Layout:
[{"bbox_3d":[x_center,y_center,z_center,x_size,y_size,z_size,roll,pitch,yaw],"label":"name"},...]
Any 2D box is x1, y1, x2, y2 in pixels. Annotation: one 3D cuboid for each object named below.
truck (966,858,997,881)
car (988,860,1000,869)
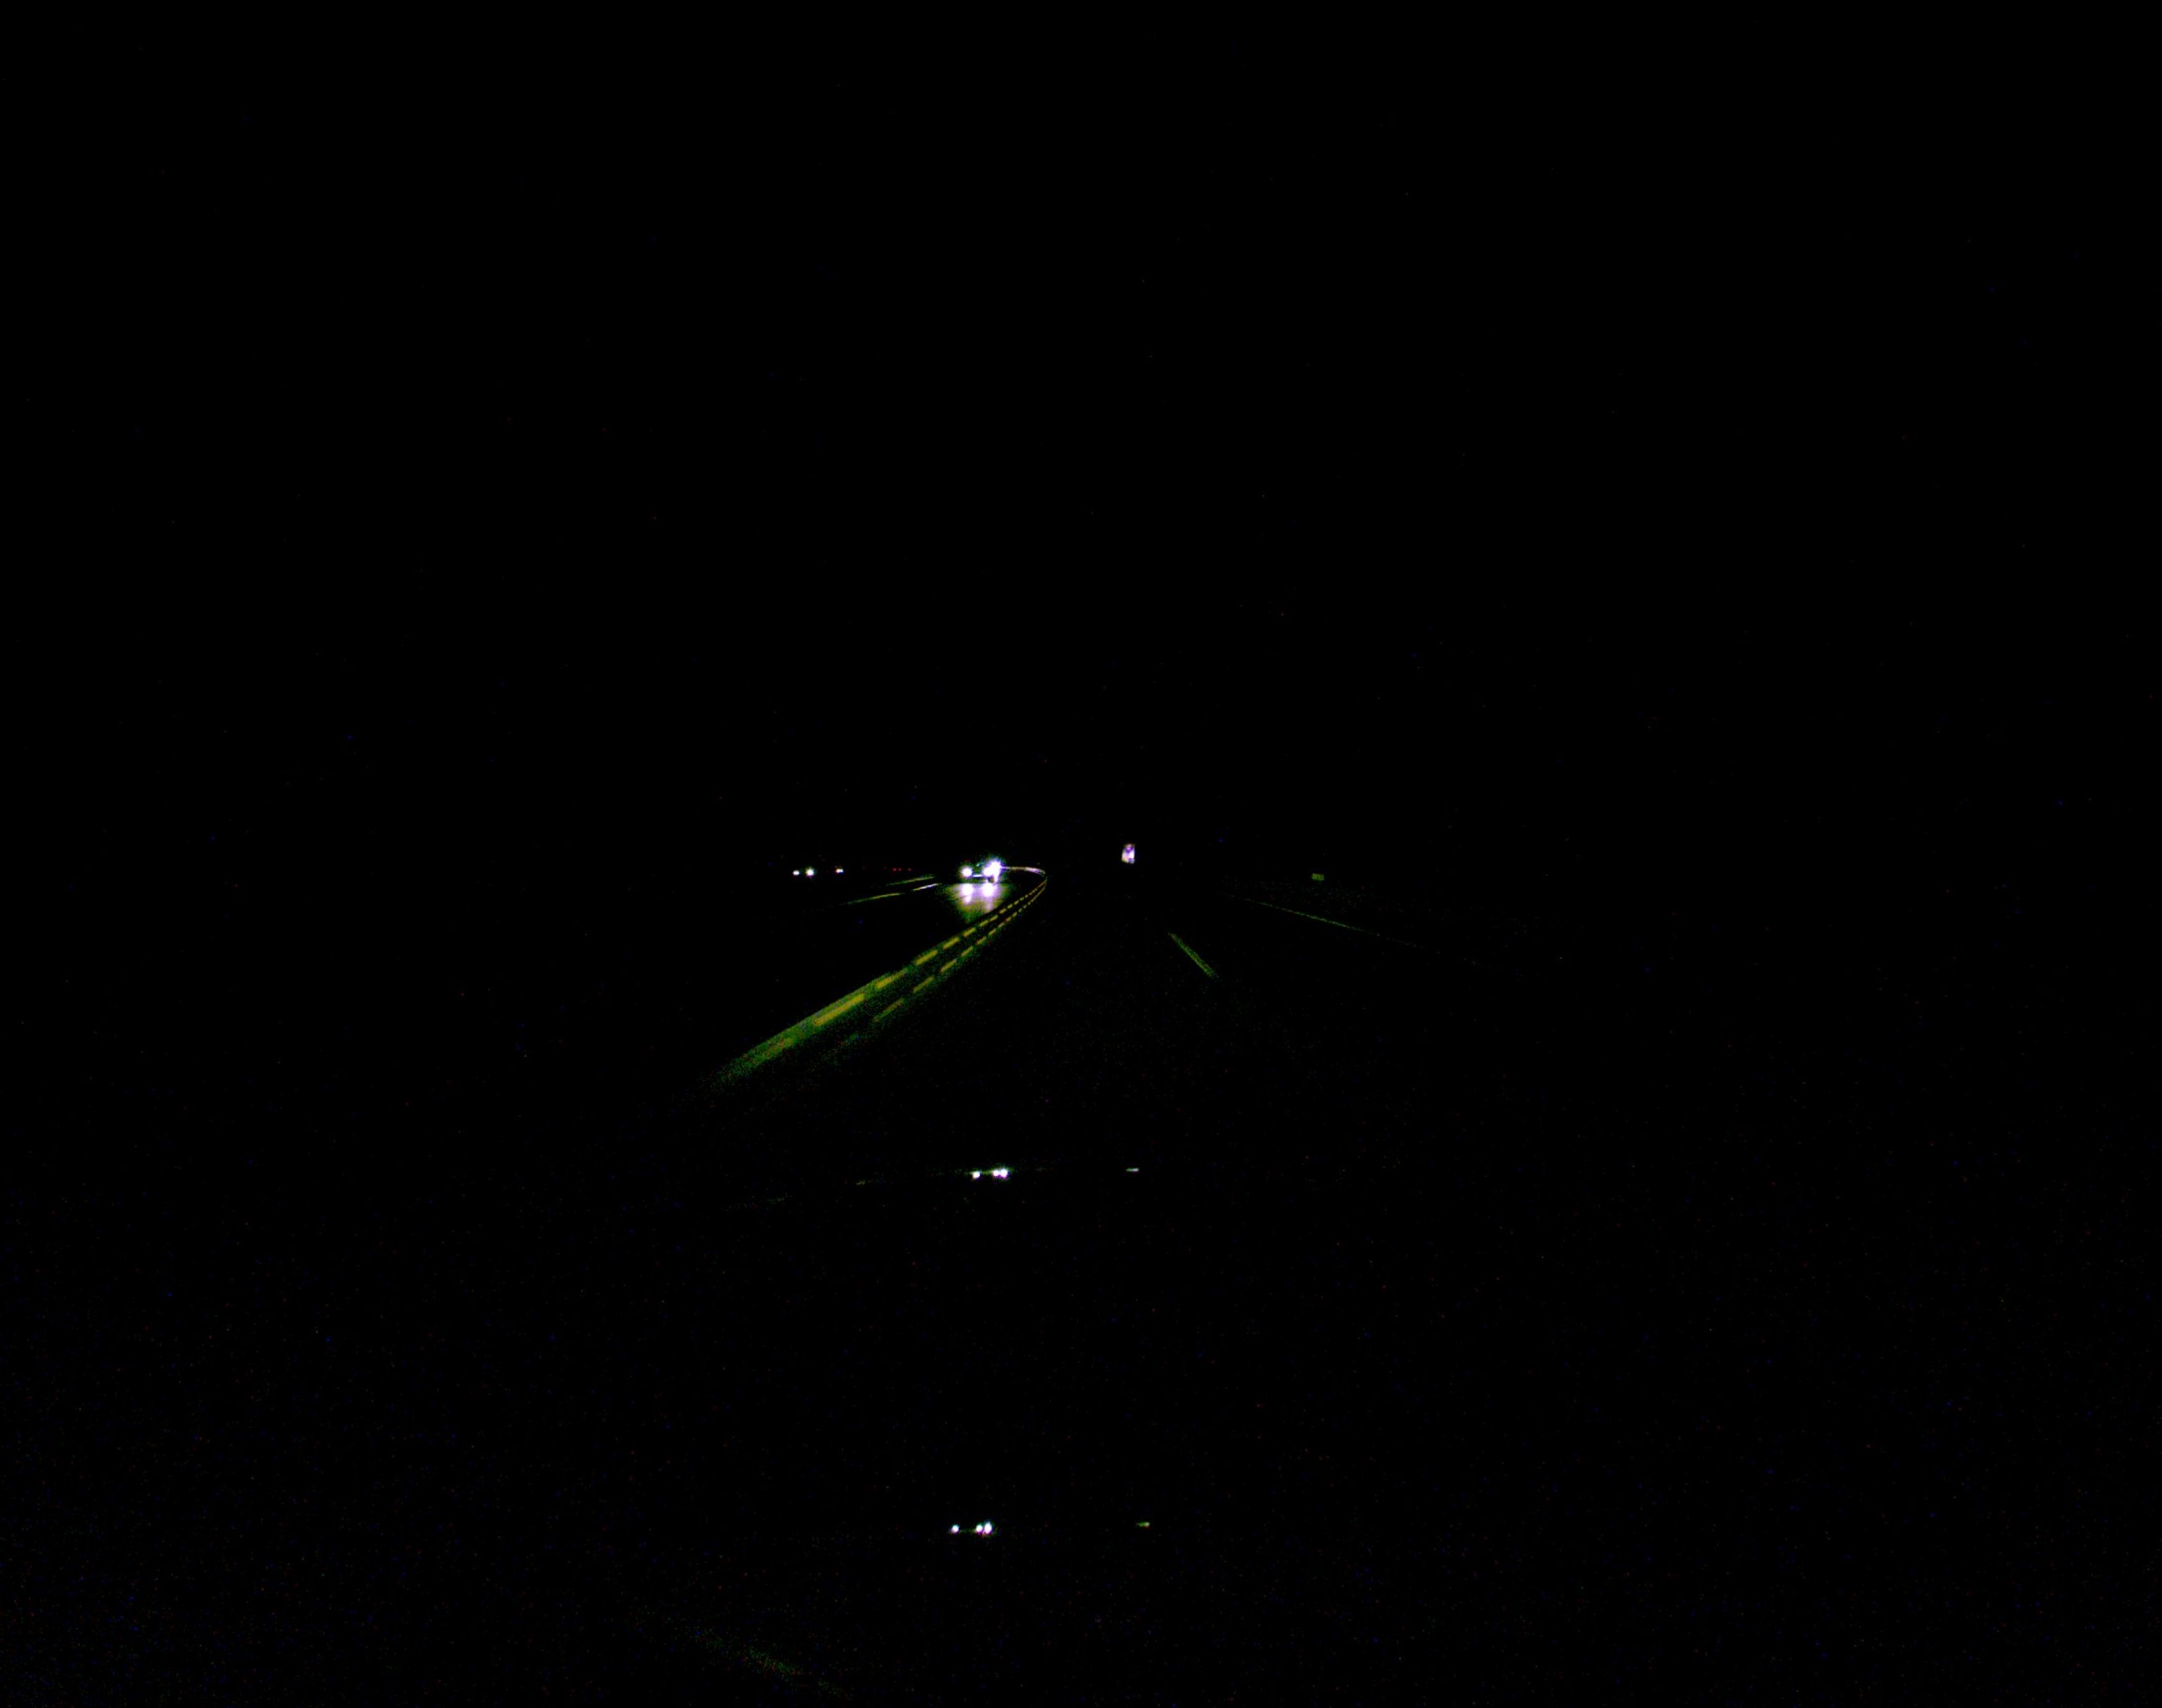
[{"bbox_3d":[-6.699,1.070,55.199,1.678,1.470,4.150,-1,-1,-2],"label":"truck"},{"bbox_3d":[-13.675,1.663,128.170,1.710,1.443,4.477,-2,-1,-6],"label":"car"}]
